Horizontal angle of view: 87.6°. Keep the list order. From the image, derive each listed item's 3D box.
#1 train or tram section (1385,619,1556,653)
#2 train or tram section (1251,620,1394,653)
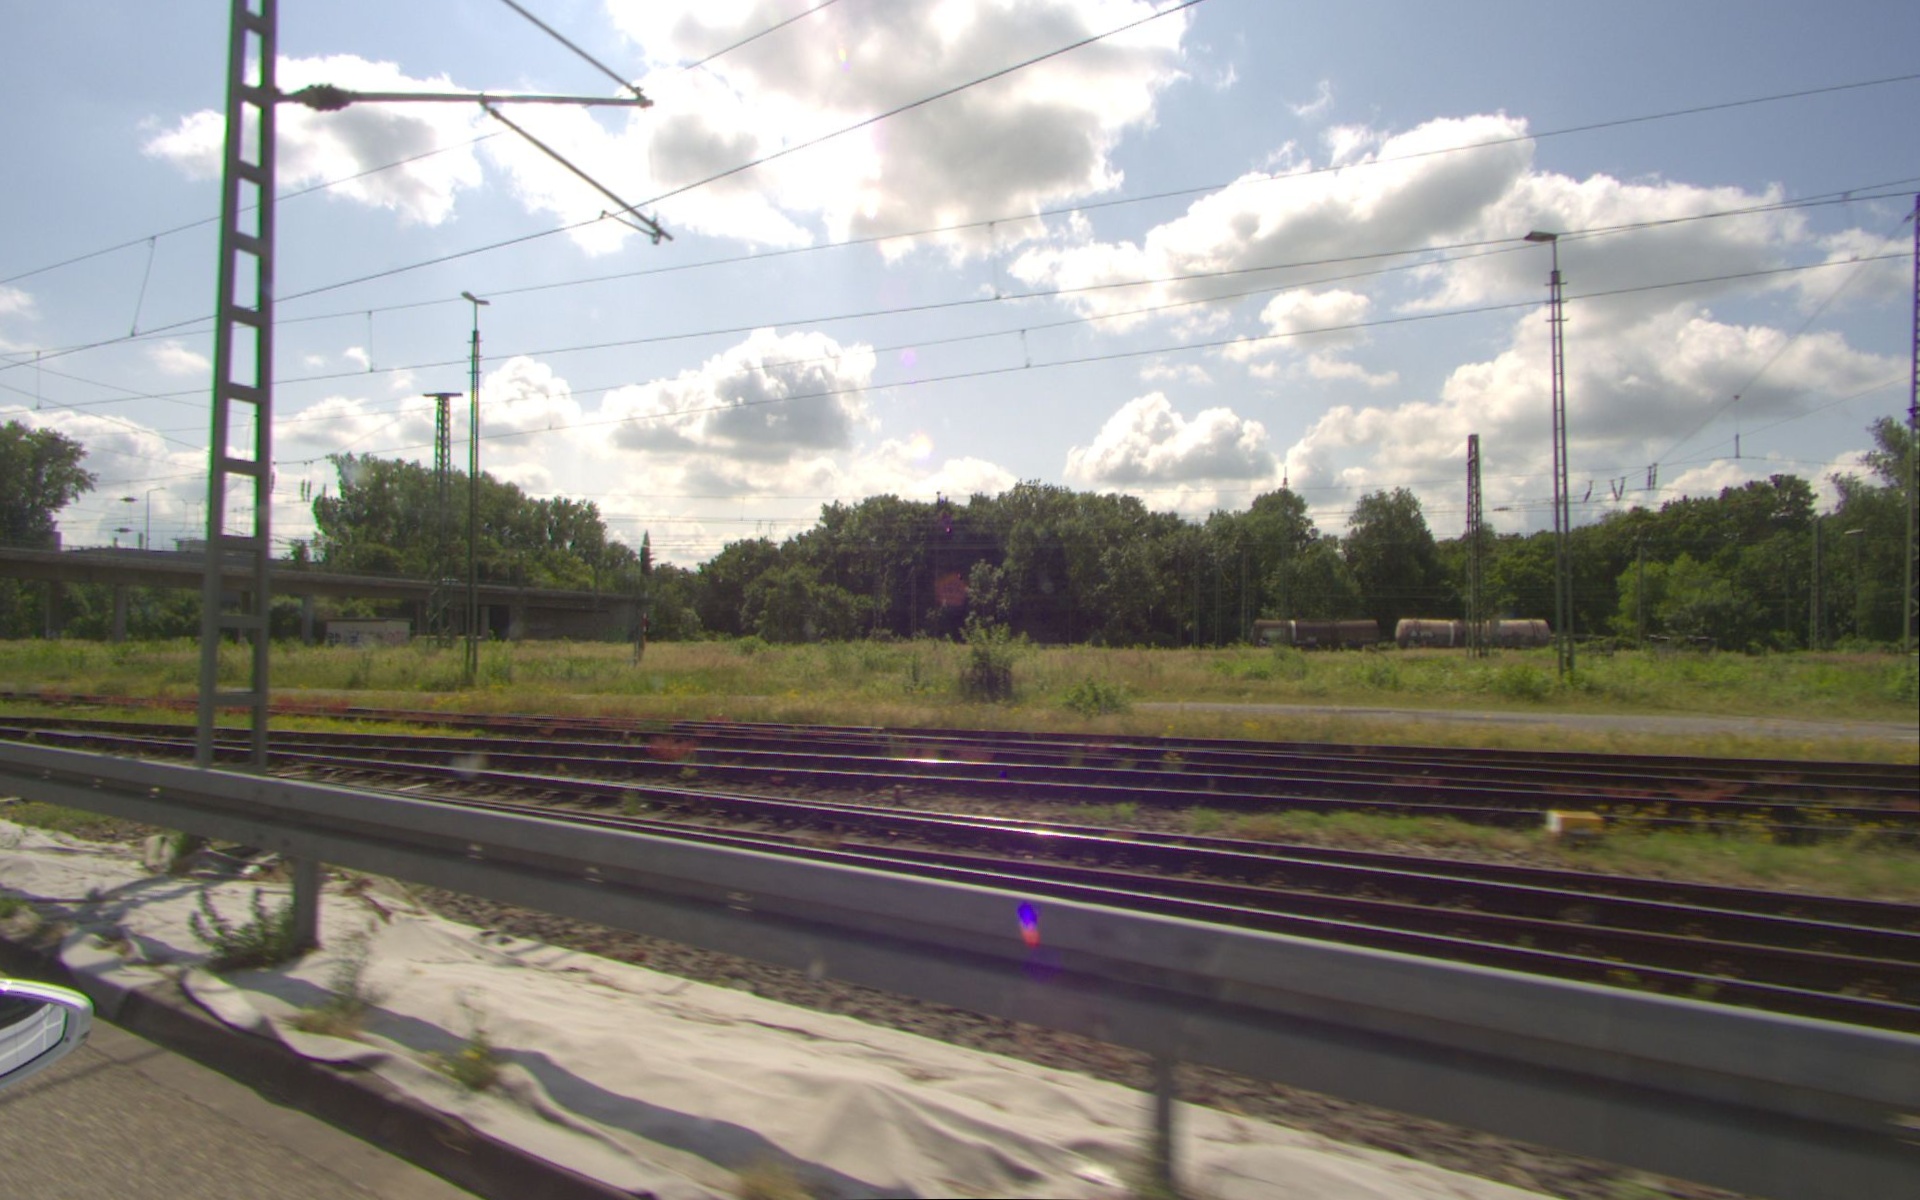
[{"bbox_3d":[51.953,3.722,102.339,15.456,3.347,3.035,-1,-2,7],"label":"train or tram section"},{"bbox_3d":[37.556,3.801,104.222,13.670,3.347,3.035,-1,-2,7],"label":"train or tram section"}]
